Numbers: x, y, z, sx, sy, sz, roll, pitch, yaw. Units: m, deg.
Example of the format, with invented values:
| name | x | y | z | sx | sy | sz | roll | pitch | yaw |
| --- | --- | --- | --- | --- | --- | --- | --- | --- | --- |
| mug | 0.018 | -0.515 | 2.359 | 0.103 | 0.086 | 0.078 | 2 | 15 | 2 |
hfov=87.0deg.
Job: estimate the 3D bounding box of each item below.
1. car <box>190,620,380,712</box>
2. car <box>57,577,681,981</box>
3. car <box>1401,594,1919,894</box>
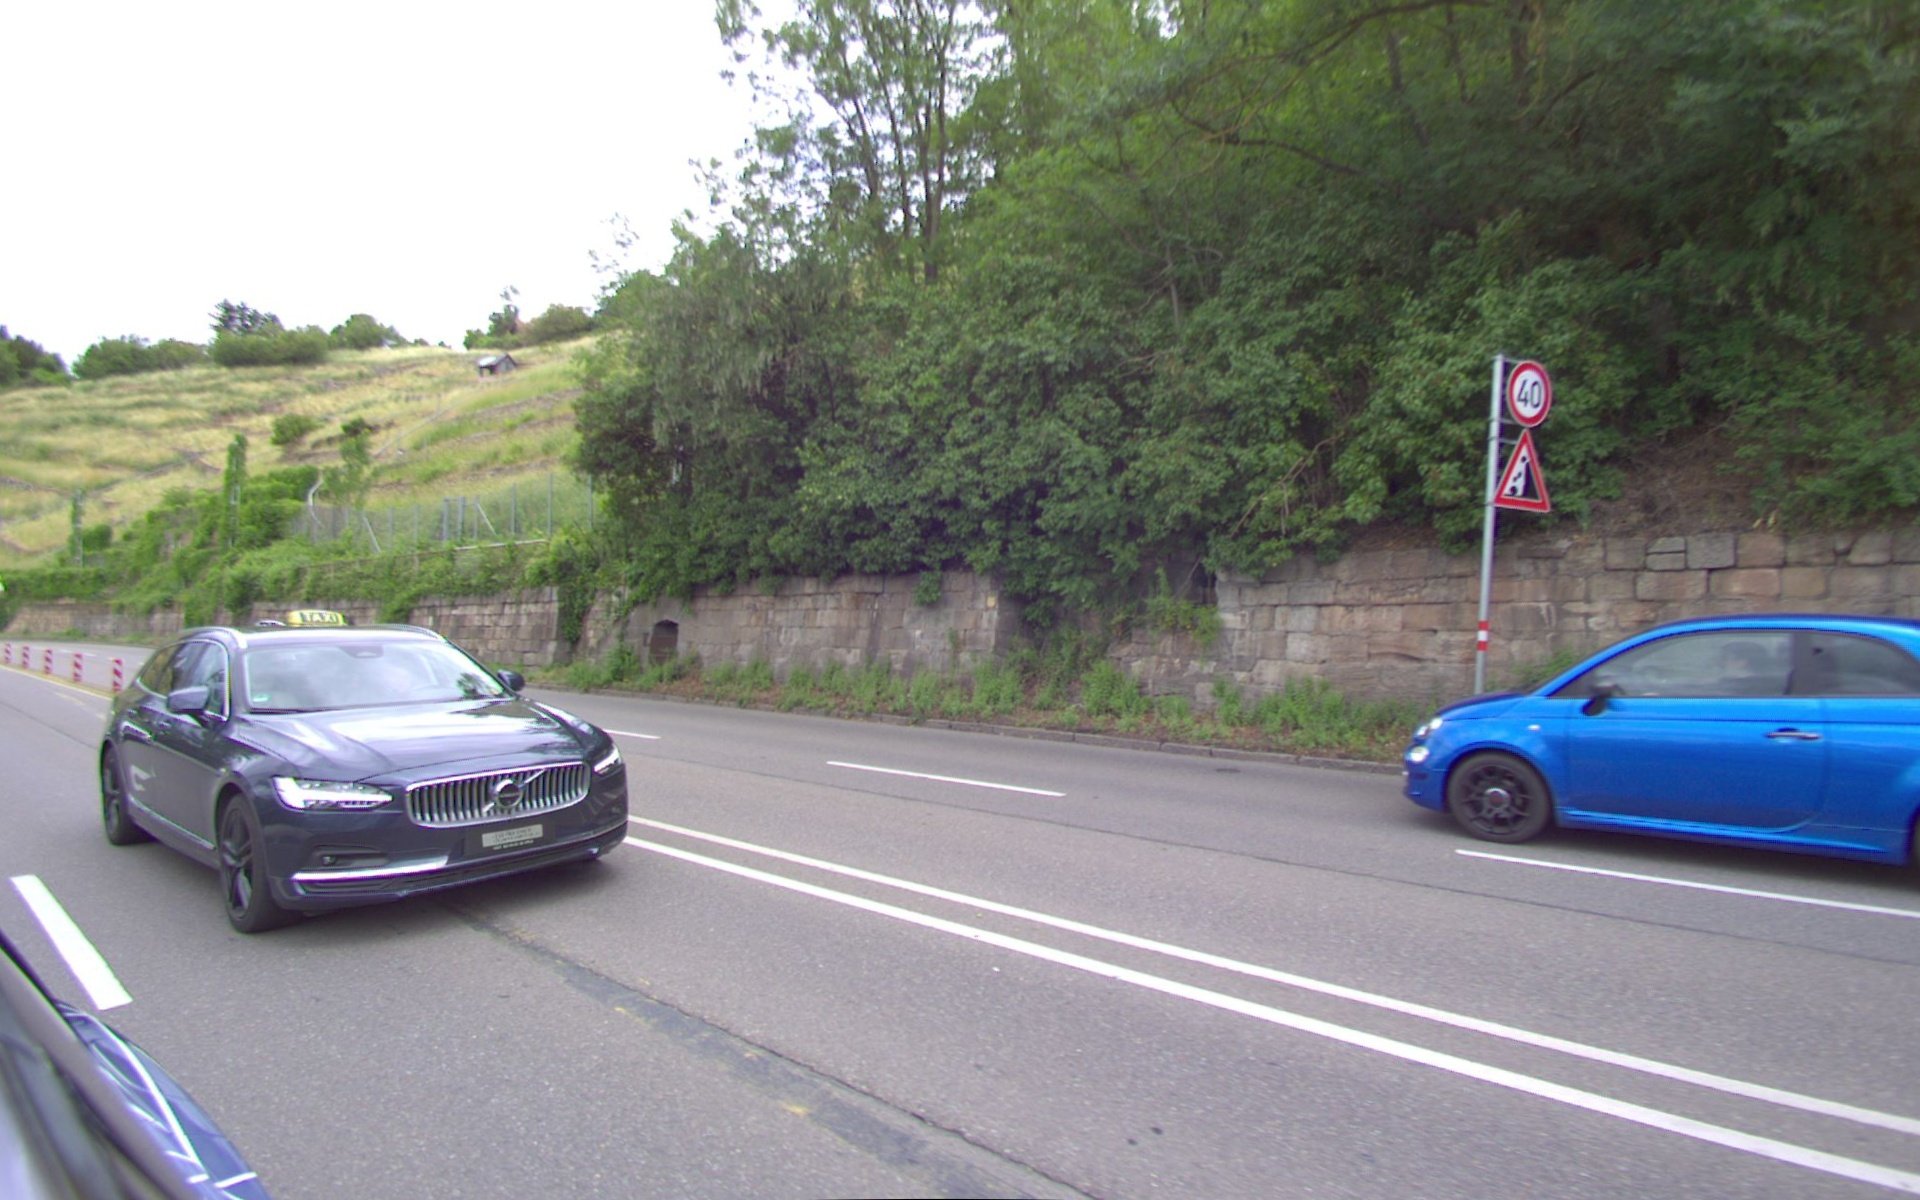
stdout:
| name | x | y | z | sx | sy | sz | roll | pitch | yaw |
| --- | --- | --- | --- | --- | --- | --- | --- | --- | --- |
| car | -12.386 | 1.107 | 18.467 | 4.294 | 1.456 | 1.837 | -1 | -1 | 41 |
| car | -4.028 | 0.740 | 6.397 | 5.025 | 1.588 | 1.915 | -1 | 0 | 42 |
| car | 4.790 | 0.730 | 6.169 | 3.523 | 1.472 | 1.566 | -1 | 1 | 43 |
